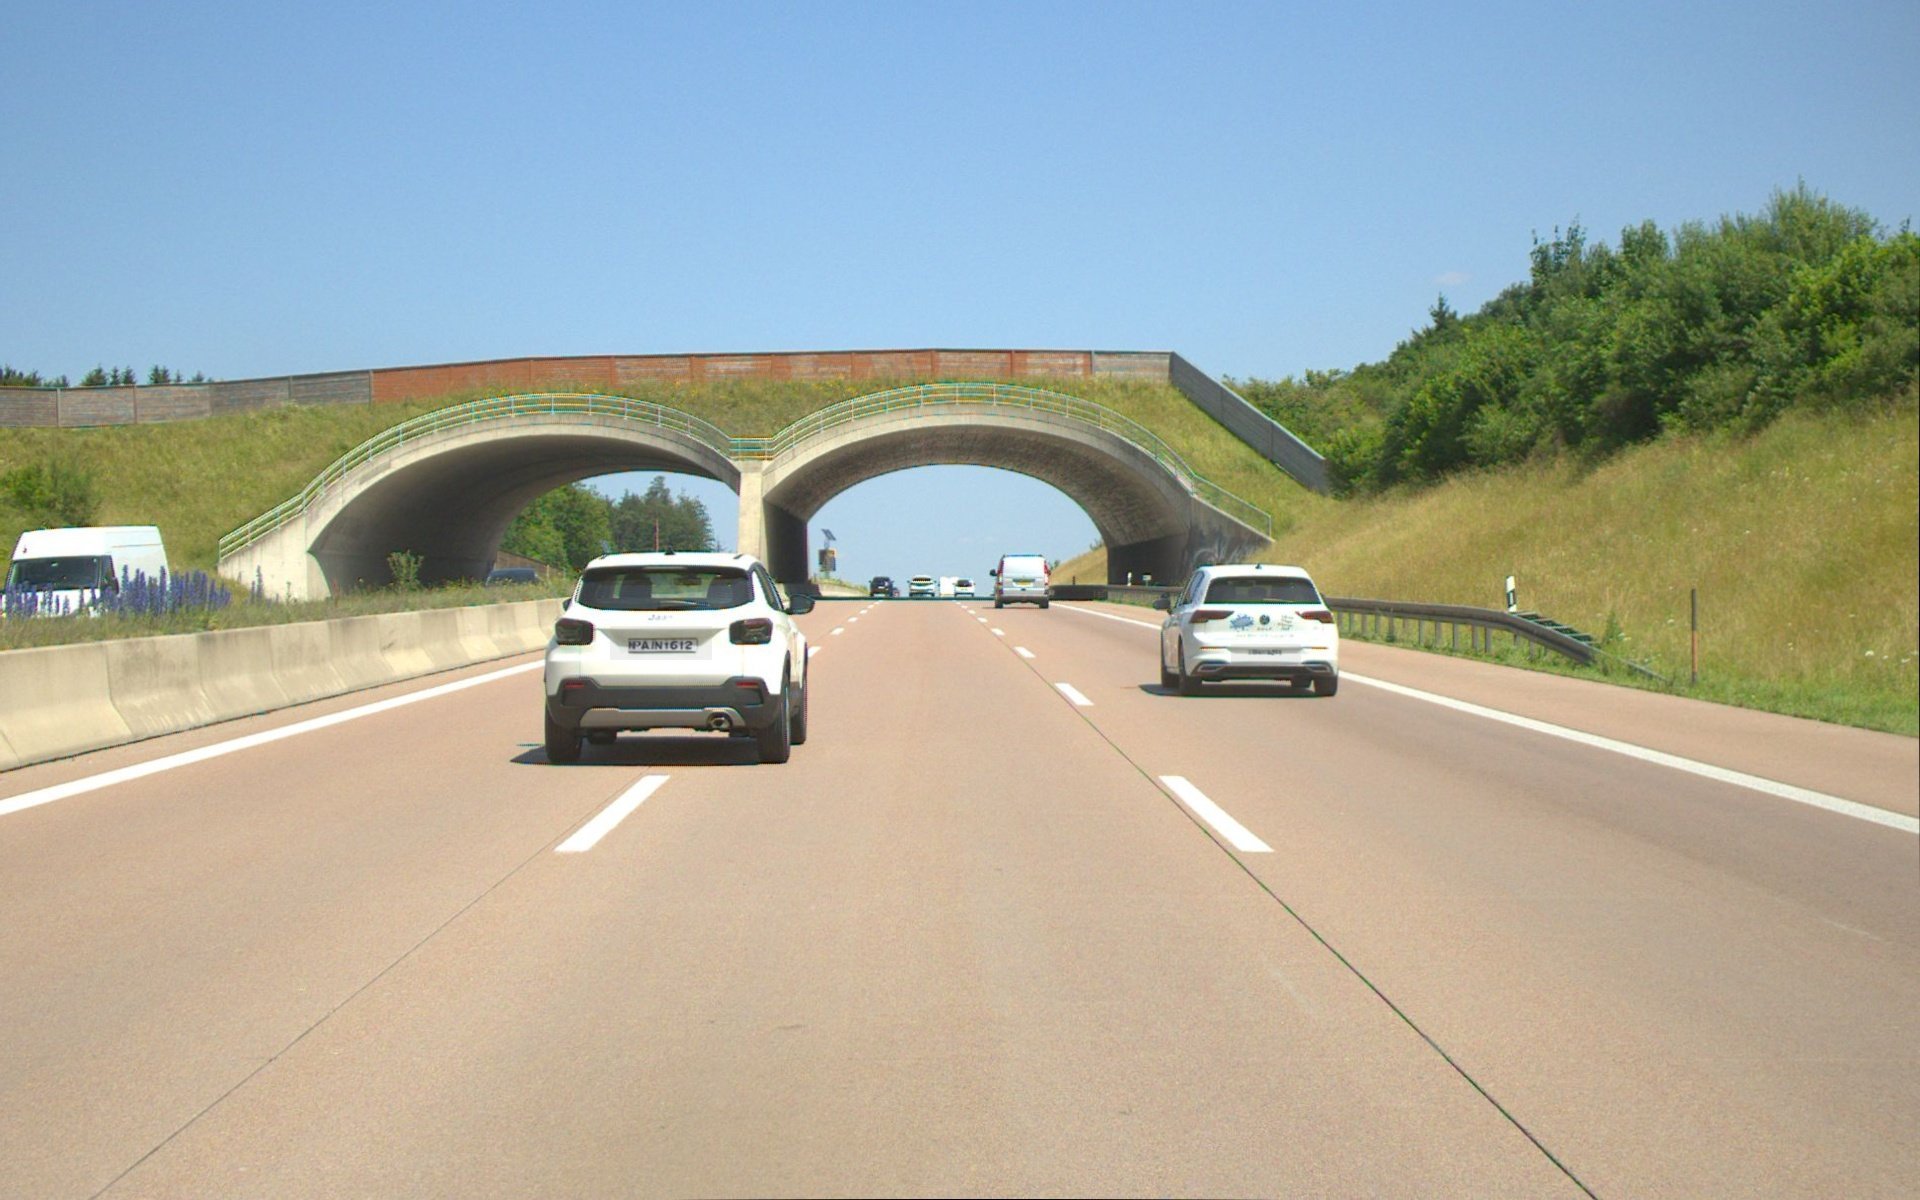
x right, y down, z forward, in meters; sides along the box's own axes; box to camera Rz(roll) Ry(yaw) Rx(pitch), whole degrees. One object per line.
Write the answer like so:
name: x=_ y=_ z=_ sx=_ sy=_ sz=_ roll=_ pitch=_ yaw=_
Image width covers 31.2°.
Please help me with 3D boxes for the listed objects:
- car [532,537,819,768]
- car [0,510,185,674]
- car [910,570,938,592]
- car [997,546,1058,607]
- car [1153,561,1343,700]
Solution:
car: x=-2.096 y=0.324 z=26.556 sx=1.879 sy=1.602 sz=4.834 roll=0 pitch=1 yaw=-1
car: x=-17.127 y=-0.244 z=67.010 sx=2.409 sy=2.959 sz=7.503 roll=0 pitch=2 yaw=0
car: x=-2.536 y=-1.377 z=243.122 sx=1.891 sy=1.458 sz=4.000 roll=1 pitch=1 yaw=0
car: x=2.422 y=-0.858 z=123.039 sx=2.110 sy=2.047 sz=4.000 roll=0 pitch=2 yaw=1
car: x=3.219 y=0.307 z=39.074 sx=1.891 sy=1.393 sz=4.000 roll=1 pitch=2 yaw=1
